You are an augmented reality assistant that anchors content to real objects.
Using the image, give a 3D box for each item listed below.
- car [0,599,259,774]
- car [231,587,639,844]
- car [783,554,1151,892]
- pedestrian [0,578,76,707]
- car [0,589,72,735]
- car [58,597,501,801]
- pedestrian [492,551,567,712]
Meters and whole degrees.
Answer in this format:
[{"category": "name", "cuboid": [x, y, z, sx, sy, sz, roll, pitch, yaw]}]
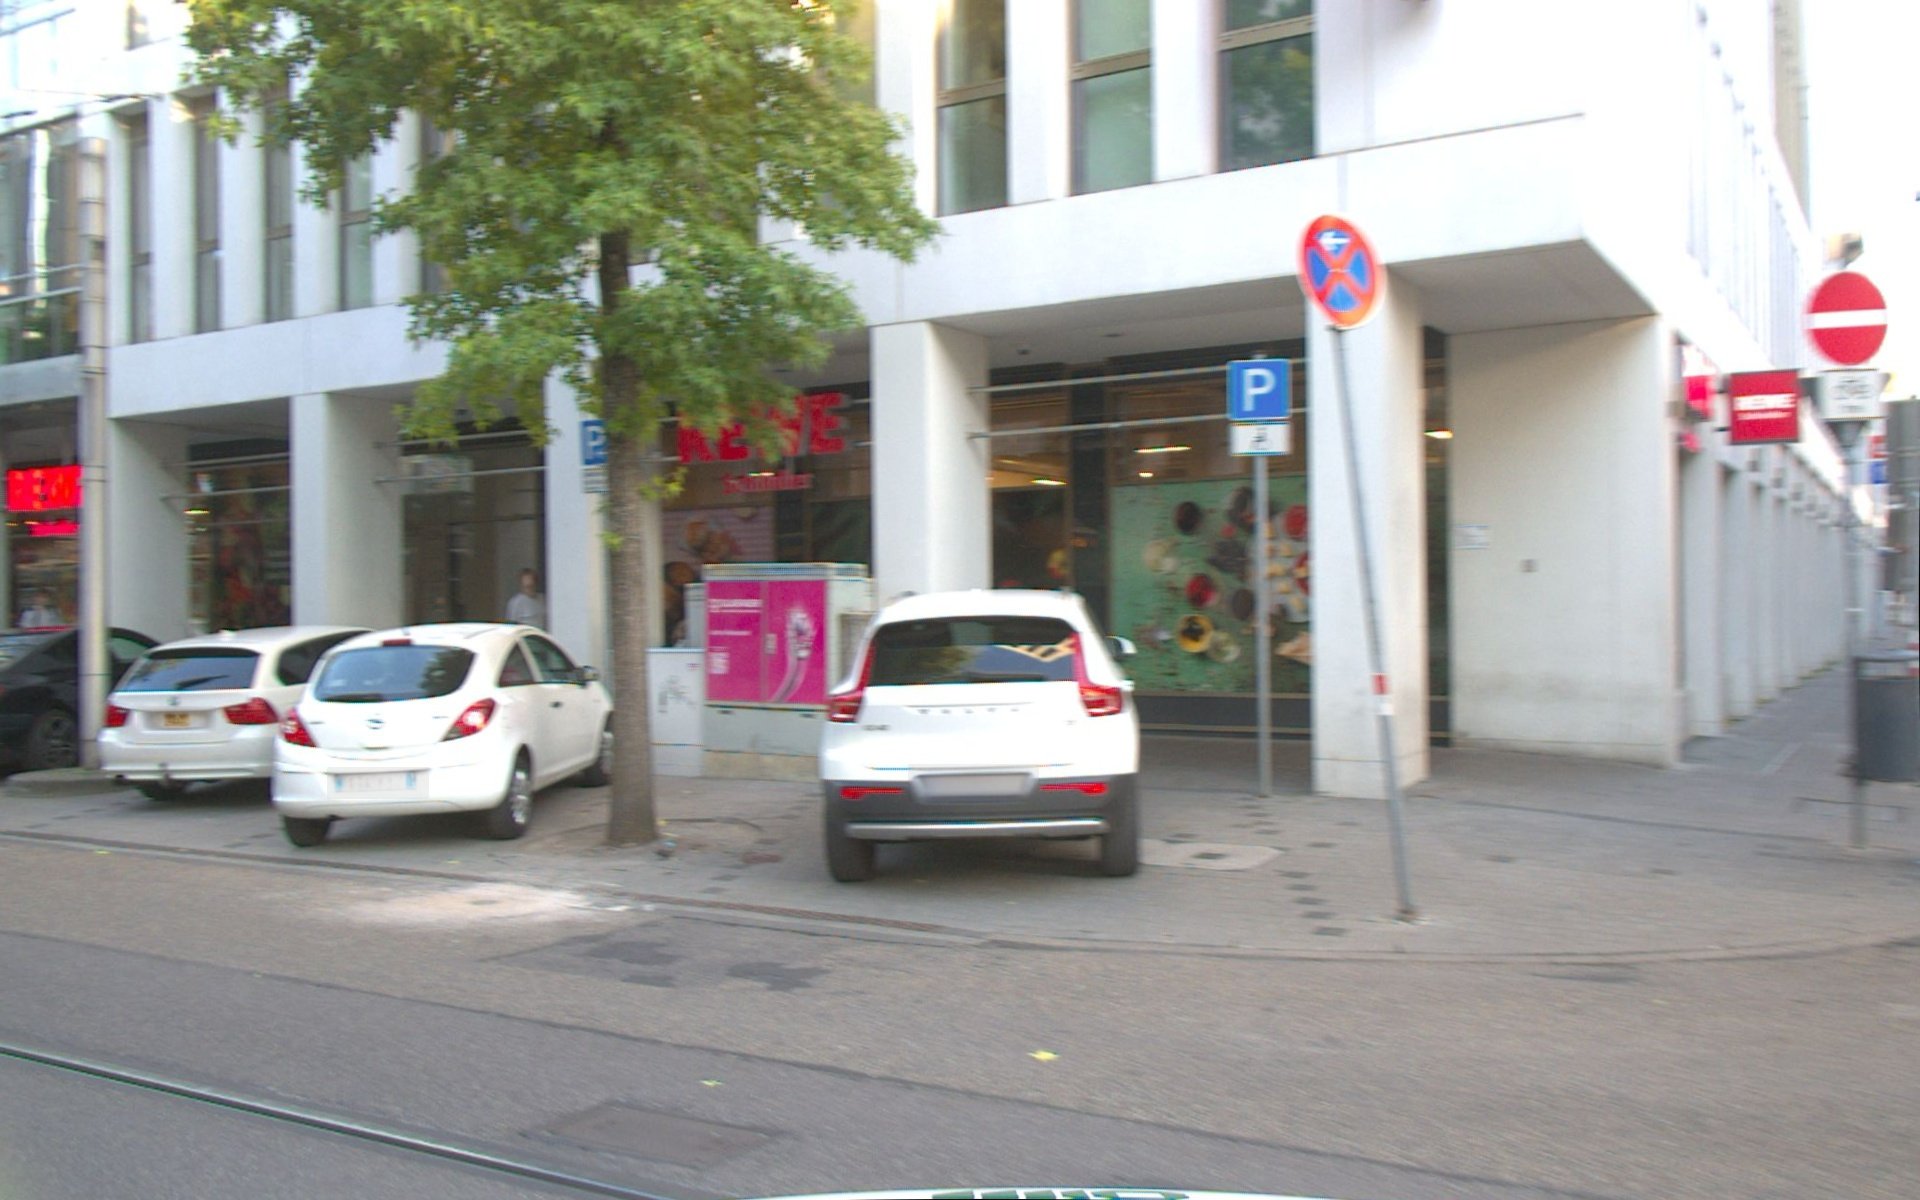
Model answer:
[{"category": "car", "cuboid": [-9.544, 0.830, 17.426, 1.907, 1.447, 4.355, -2, 2, 9]}, {"category": "car", "cuboid": [-3.876, 0.754, 13.000, 1.753, 1.527, 4.070, -2, 2, 2]}, {"category": "car", "cuboid": [0.251, 0.610, 10.968, 1.905, 1.701, 4.277, -2, 2, 6]}, {"category": "pedestrian", "cuboid": [-13.218, 0.591, 23.658, 0.788, 1.802, 0.681, 1, 0, 30]}, {"category": "car", "cuboid": [-12.143, 0.789, 18.714, 1.911, 1.668, 4.672, -2, 2, -5]}, {"category": "car", "cuboid": [-6.100, 0.806, 15.484, 1.784, 1.447, 4.355, -1, 2, 9]}, {"category": "pedestrian", "cuboid": [-4.955, 0.359, 19.016, 0.671, 1.802, 0.799, 1, 0, -25]}]
